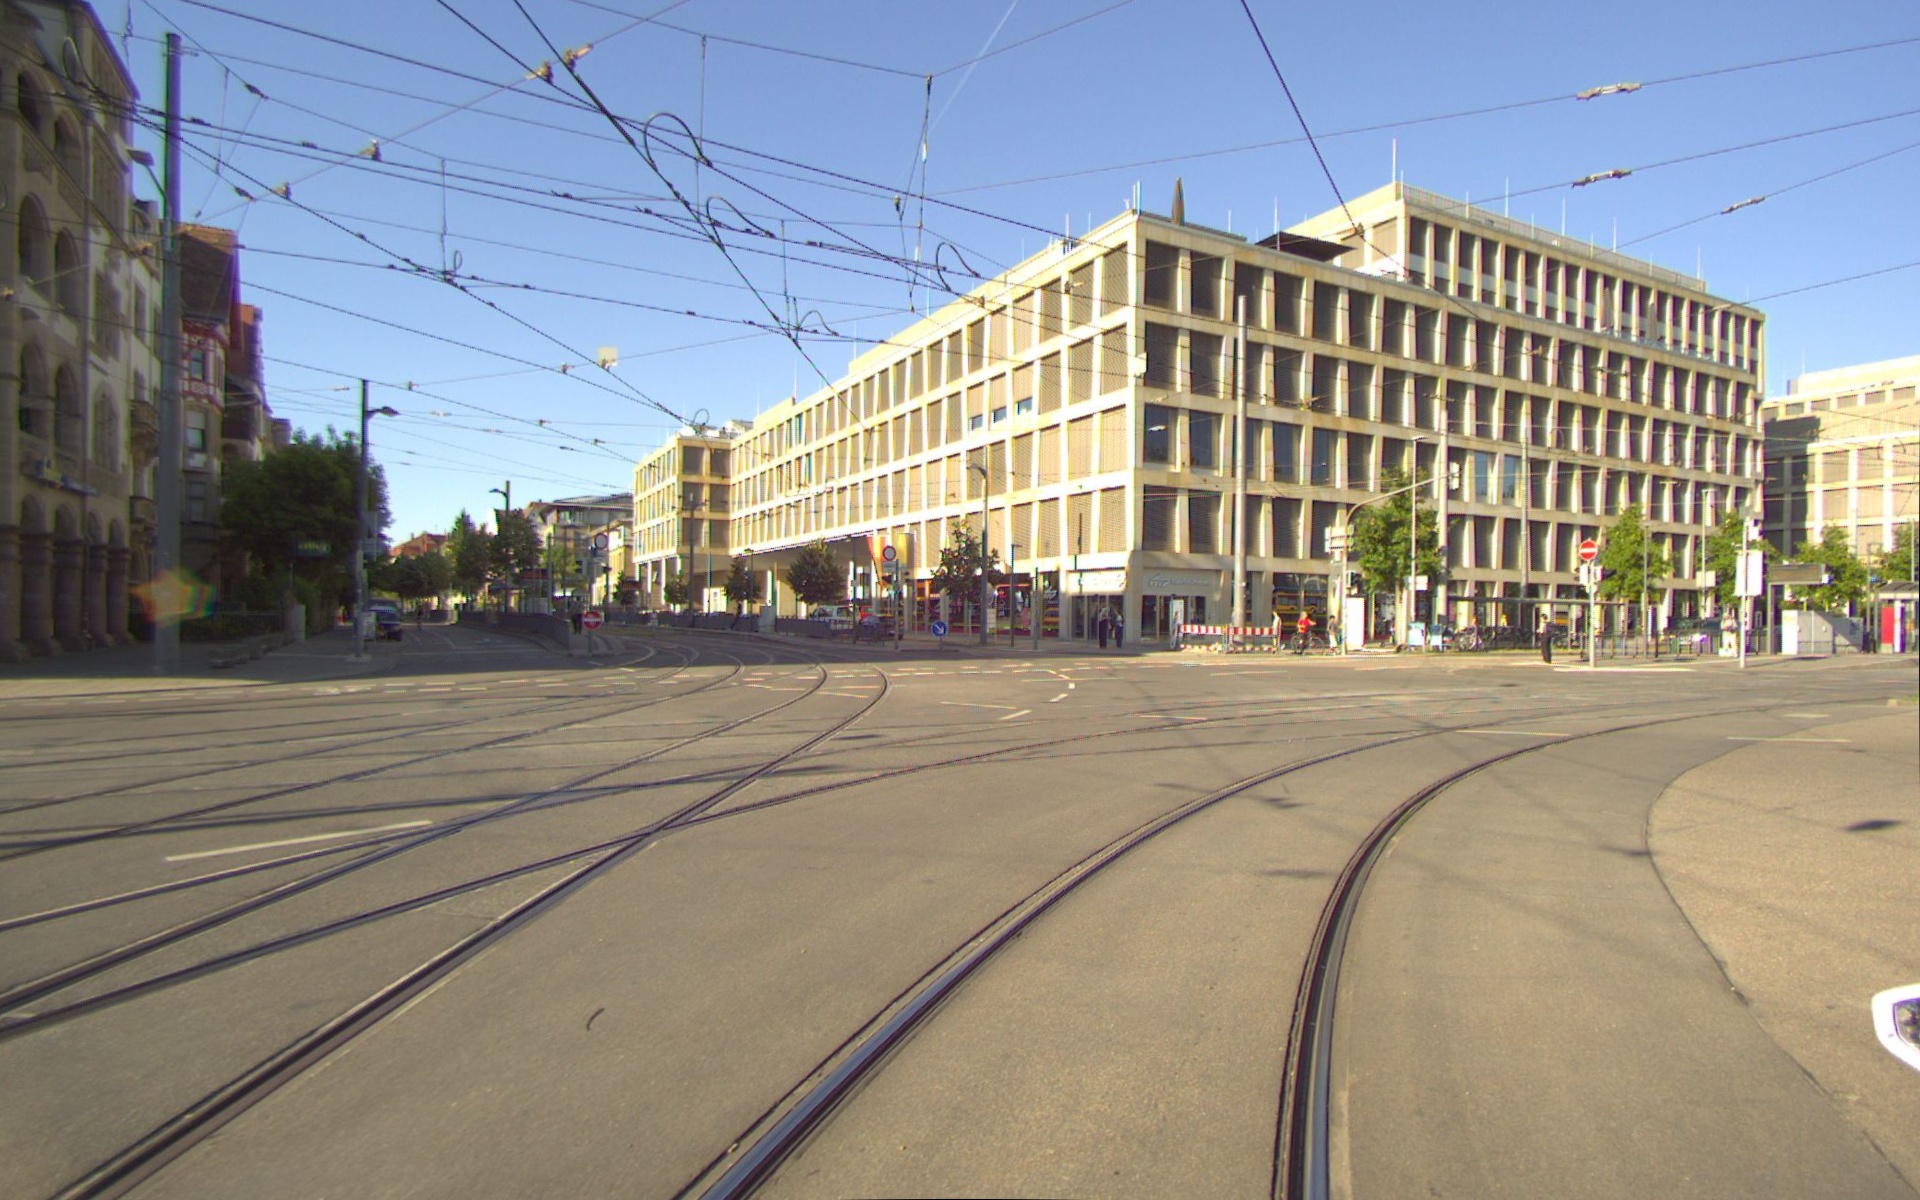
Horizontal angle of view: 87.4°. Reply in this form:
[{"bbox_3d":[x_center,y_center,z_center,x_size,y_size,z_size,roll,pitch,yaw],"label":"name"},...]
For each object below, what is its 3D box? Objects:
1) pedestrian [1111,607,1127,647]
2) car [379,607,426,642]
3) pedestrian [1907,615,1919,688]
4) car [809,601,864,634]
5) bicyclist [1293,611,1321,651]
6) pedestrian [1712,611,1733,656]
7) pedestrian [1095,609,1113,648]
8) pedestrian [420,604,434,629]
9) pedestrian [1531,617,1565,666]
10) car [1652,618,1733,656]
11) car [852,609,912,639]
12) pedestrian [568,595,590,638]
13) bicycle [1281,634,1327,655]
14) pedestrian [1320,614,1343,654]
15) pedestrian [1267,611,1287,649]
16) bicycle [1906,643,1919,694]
[{"bbox_3d":[6.752,1.143,42.598,0.526,1.658,0.588,1,0,-7],"label":"pedestrian"},{"bbox_3d":[-23.975,1.036,43.190,1.677,1.443,3.898,1,-1,-29],"label":"car"},{"bbox_3d":[23.708,1.250,24.440,0.653,1.764,0.739,1,0,-20],"label":"pedestrian"},{"bbox_3d":[-7.594,1.071,61.633,1.892,1.939,4.038,1,-1,-31],"label":"car"},{"bbox_3d":[13.462,1.196,38.966,0.773,1.546,0.703,1,0,-20],"label":"bicyclist"},{"bbox_3d":[28.567,1.248,37.624,0.609,1.686,0.512,0,-1,37],"label":"pedestrian"},{"bbox_3d":[6.164,1.224,43.111,0.529,1.658,0.585,1,0,-25],"label":"pedestrian"},{"bbox_3d":[-35.246,1.080,66.415,0.617,1.615,0.546,0,0,22],"label":"pedestrian"},{"bbox_3d":[19.113,1.338,32.660,0.616,1.552,0.754,1,-1,-24],"label":"pedestrian"},{"bbox_3d":[37.262,1.879,51.079,4.063,1.836,1.834,1,-1,-30],"label":"car"},{"bbox_3d":[-4.453,1.357,56.919,1.831,1.635,4.038,1,-1,-31],"label":"car"},{"bbox_3d":[-17.798,0.750,46.942,0.864,1.991,0.545,1,0,-28],"label":"pedestrian"},{"bbox_3d":[13.367,1.720,39.083,0.610,0.786,1.972,1,-1,-20],"label":"bicycle"},{"bbox_3d":[14.498,1.327,39.223,0.574,1.546,0.593,1,0,-20],"label":"pedestrian"},{"bbox_3d":[13.248,1.248,41.977,0.587,1.595,0.580,1,0,-23],"label":"pedestrian"},{"bbox_3d":[22.375,1.555,22.217,0.755,1.123,1.997,1,-1,-29],"label":"bicycle"}]
